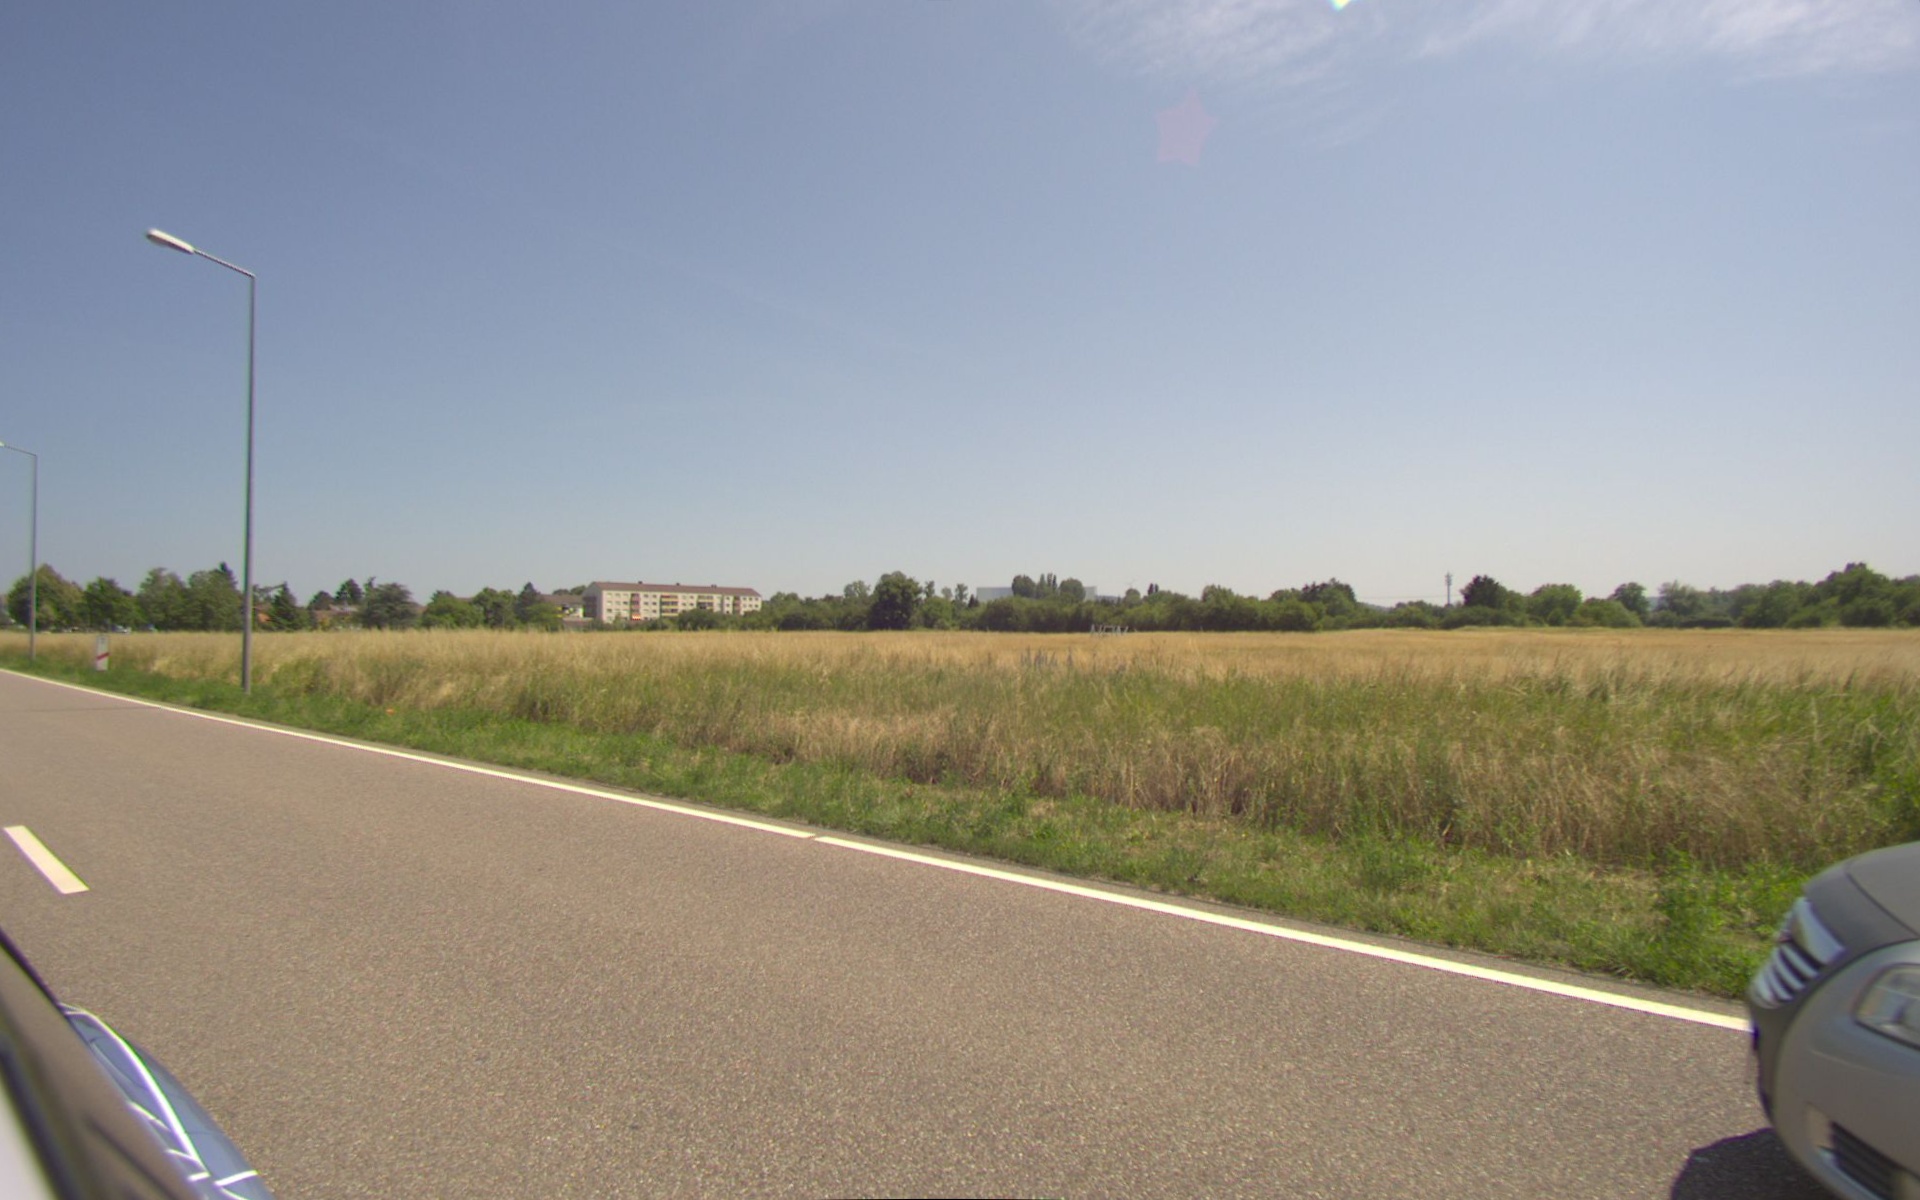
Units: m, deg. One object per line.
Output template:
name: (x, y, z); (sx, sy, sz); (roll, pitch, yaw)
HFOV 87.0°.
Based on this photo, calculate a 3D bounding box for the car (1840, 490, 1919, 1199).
car: (3.885, 0.548, 0.880); (4.676, 1.478, 1.815); (-1, -2, 41)
